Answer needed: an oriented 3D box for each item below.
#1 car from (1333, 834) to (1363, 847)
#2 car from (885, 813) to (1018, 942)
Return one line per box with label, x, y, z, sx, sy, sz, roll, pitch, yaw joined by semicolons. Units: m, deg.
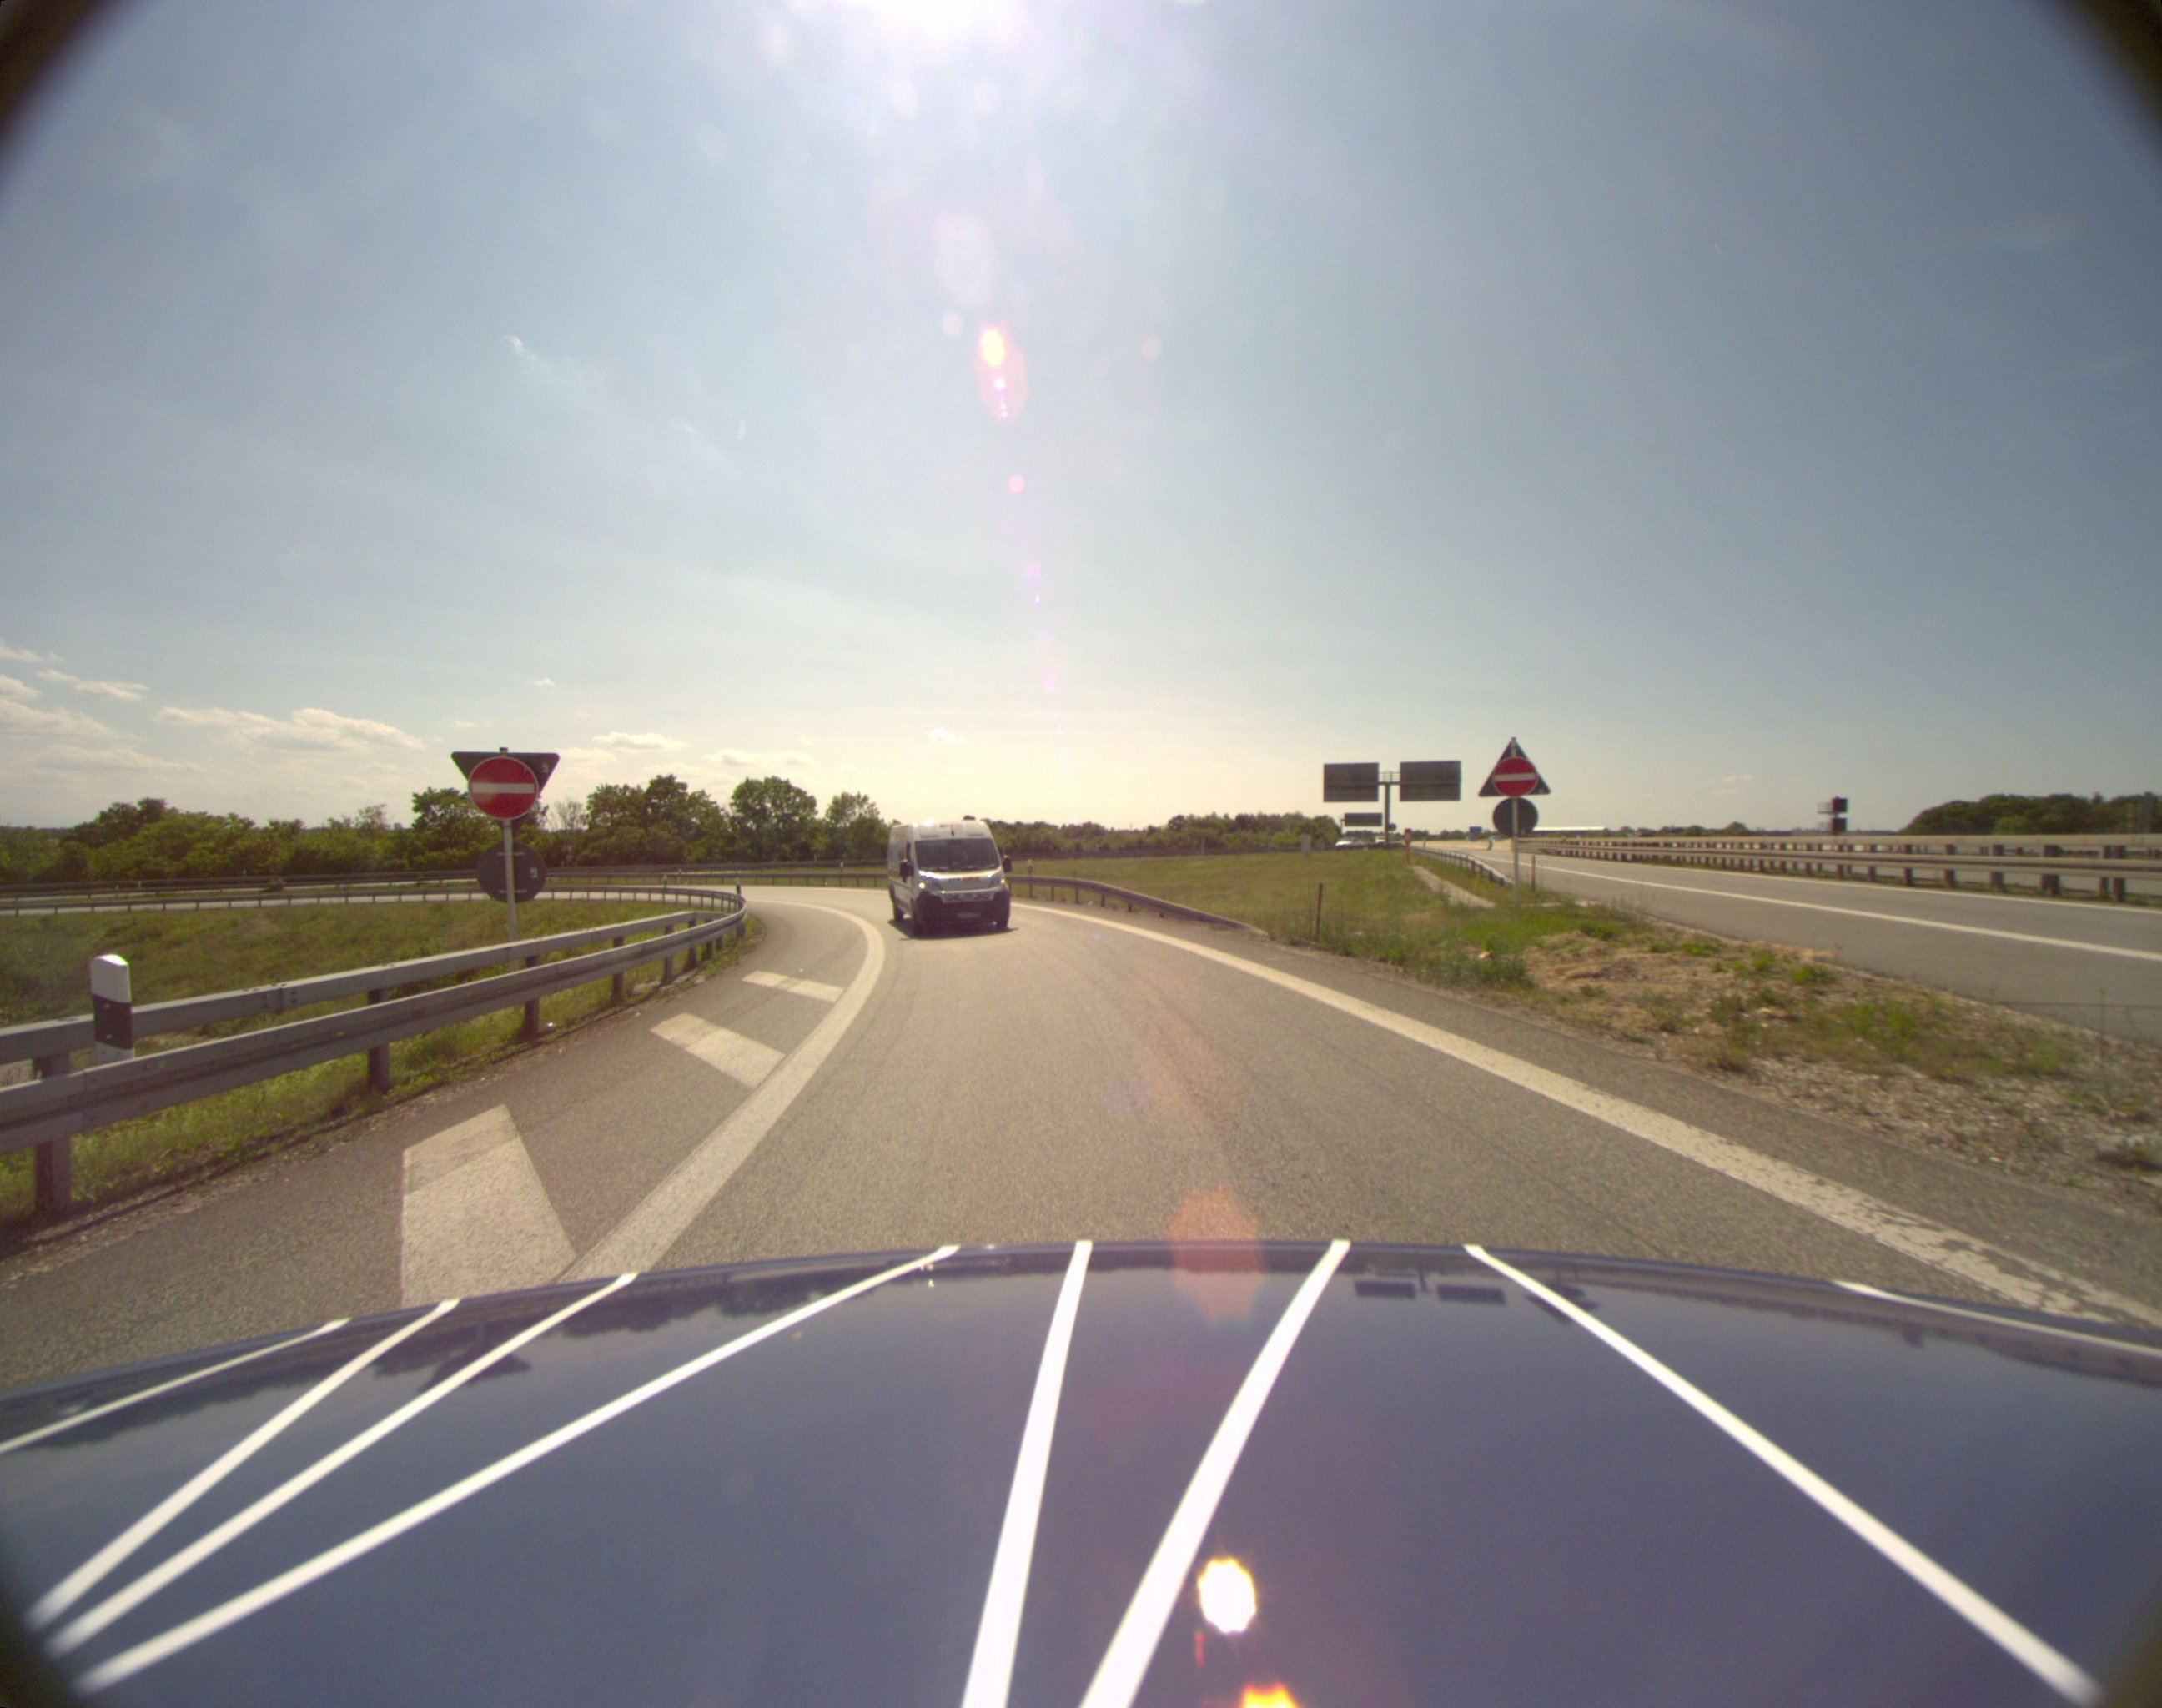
car;34.160;-1.760;97.162;1.994;1.499;4.307;-1;2;44
car;-3.361;0.497;18.378;2.090;2.509;6.227;-3;0;-19
